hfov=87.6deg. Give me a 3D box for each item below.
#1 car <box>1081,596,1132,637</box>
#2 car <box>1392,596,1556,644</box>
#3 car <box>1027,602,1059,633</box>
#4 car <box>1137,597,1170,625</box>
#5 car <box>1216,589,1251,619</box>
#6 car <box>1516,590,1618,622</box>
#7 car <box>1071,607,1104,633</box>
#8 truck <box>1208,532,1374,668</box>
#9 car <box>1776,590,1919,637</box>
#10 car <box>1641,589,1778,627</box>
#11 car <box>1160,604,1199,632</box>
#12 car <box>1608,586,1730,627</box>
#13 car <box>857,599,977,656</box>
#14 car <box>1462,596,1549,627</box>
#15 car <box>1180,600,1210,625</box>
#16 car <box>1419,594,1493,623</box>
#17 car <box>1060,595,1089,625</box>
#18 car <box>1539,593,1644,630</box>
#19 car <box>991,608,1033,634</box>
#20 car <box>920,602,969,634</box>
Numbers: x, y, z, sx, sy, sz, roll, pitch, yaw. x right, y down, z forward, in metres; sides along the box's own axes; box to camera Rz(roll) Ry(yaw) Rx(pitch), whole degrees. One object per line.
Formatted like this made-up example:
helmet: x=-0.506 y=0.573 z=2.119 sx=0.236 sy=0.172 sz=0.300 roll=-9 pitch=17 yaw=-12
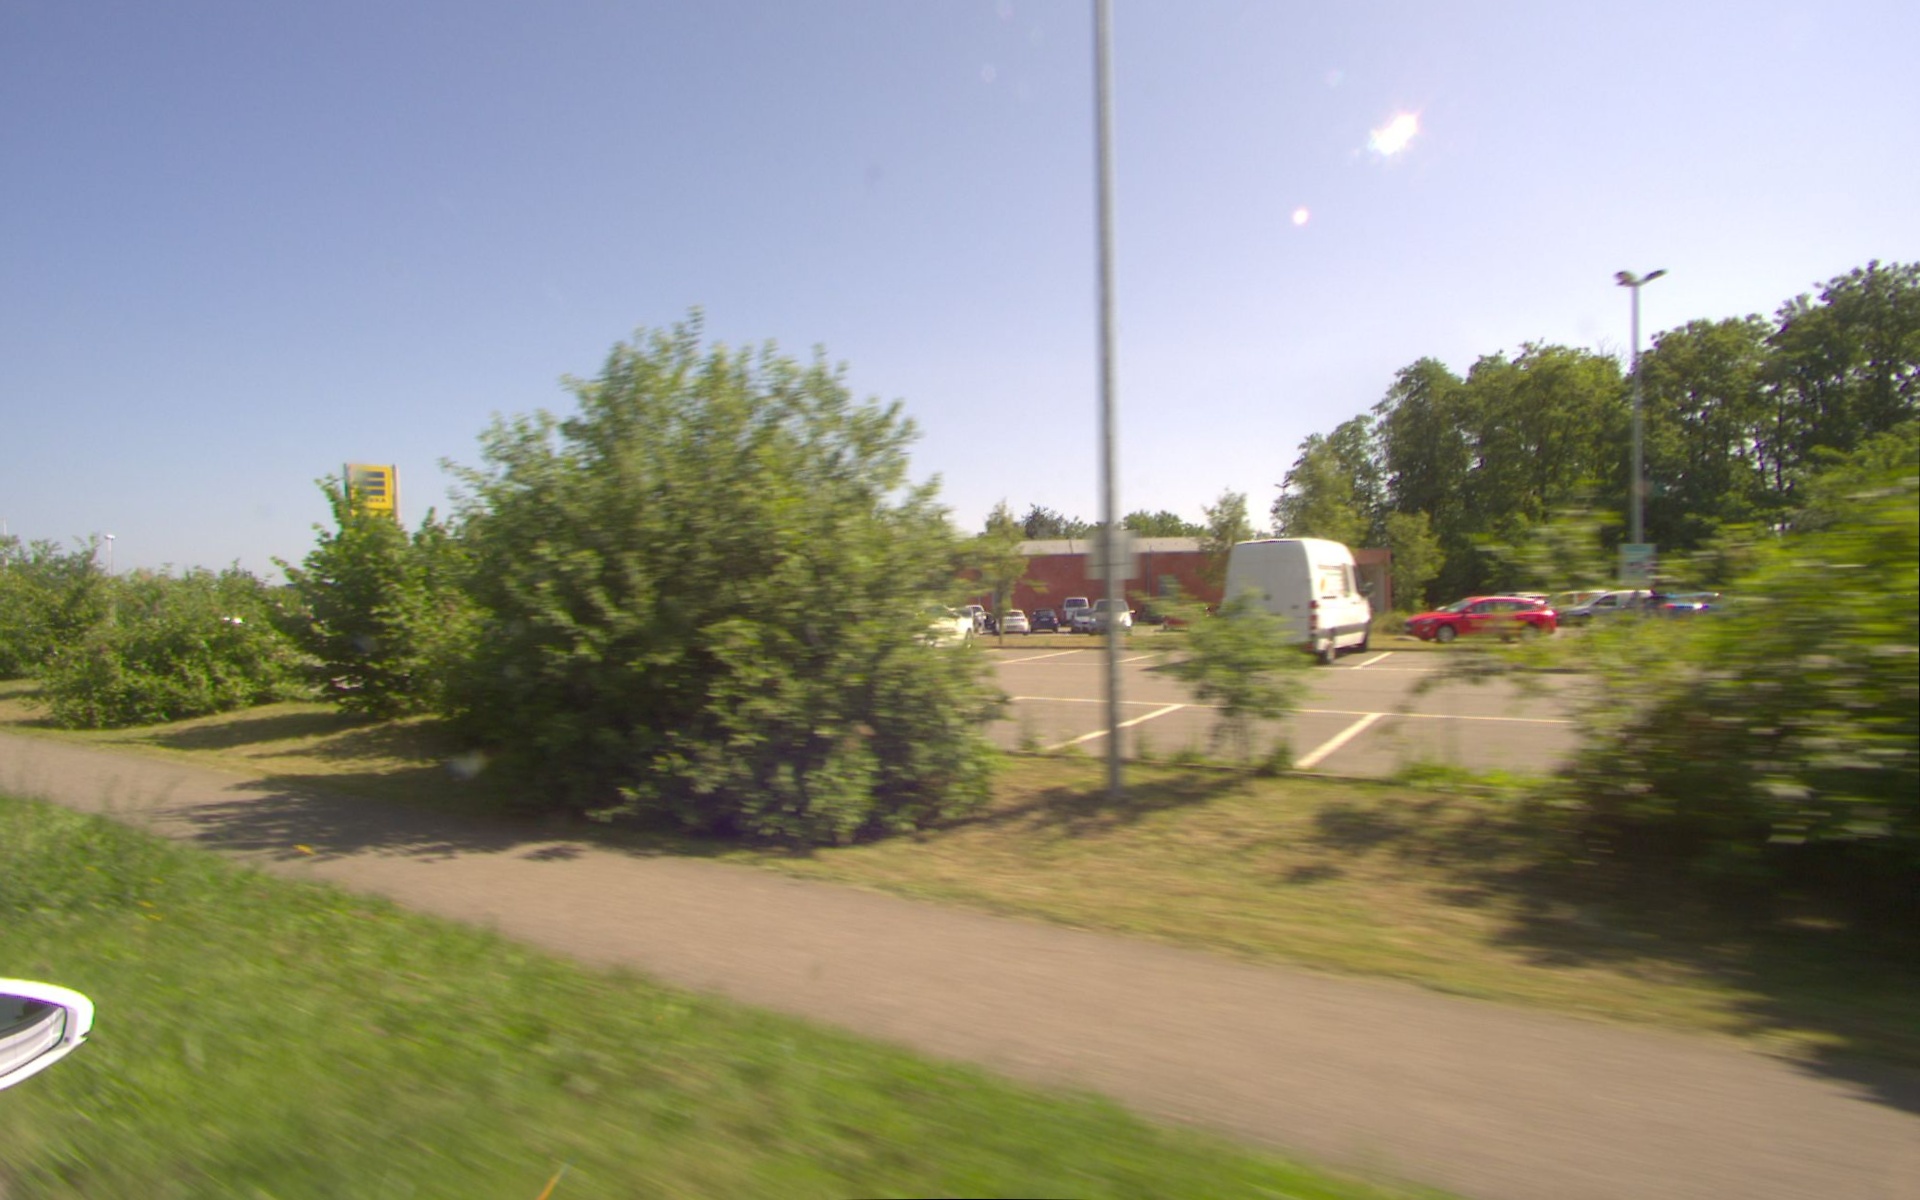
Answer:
car: x=6.130 y=0.642 z=41.485 sx=1.933 sy=1.606 sz=3.997 roll=0 pitch=0 yaw=10
car: x=16.982 y=0.651 z=33.252 sx=4.407 sy=1.485 sz=2.000 roll=-1 pitch=1 yaw=3
car: x=5.124 y=1.044 z=61.444 sx=1.770 sy=1.781 sz=3.999 roll=-1 pitch=0 yaw=6
car: x=13.631 y=0.745 z=70.724 sx=1.961 sy=1.907 sz=3.999 roll=-1 pitch=0 yaw=7
car: x=19.234 y=0.282 z=70.553 sx=1.962 sy=2.040 sz=3.998 roll=0 pitch=0 yaw=9
car: x=31.521 y=0.308 z=52.083 sx=4.178 sy=1.617 sz=1.795 roll=-1 pitch=0 yaw=5
car: x=7.700 y=1.195 z=60.441 sx=1.876 sy=1.461 sz=3.998 roll=0 pitch=0 yaw=8
truck: x=7.549 y=-0.012 z=22.385 sx=2.172 sy=2.640 sz=5.585 roll=0 pitch=1 yaw=33
car: x=30.639 y=0.430 z=34.086 sx=3.923 sy=1.506 sz=2.070 roll=-1 pitch=1 yaw=7
car: x=31.023 y=0.340 z=41.530 sx=4.288 sy=1.506 sz=1.662 roll=-1 pitch=1 yaw=7
car: x=13.232 y=1.065 z=60.487 sx=1.765 sy=1.539 sz=3.999 roll=-1 pitch=0 yaw=4
car: x=31.485 y=0.292 z=44.592 sx=3.923 sy=1.734 sz=2.070 roll=-1 pitch=1 yaw=7
car: x=-1.127 y=0.718 z=28.198 sx=1.872 sy=1.472 sz=3.963 roll=0 pitch=0 yaw=23
car: x=31.326 y=0.651 z=57.607 sx=3.923 sy=1.734 sz=1.942 roll=-1 pitch=1 yaw=7
car: x=16.533 y=0.878 z=70.577 sx=1.748 sy=1.662 sz=3.771 roll=-1 pitch=0 yaw=8
car: x=32.410 y=0.562 z=65.552 sx=3.923 sy=1.824 sz=1.942 roll=-1 pitch=1 yaw=7
car: x=8.096 y=0.674 z=70.676 sx=1.961 sy=2.040 sz=3.999 roll=-1 pitch=0 yaw=7
car: x=31.366 y=0.551 z=49.827 sx=3.923 sy=1.734 sz=2.070 roll=-1 pitch=1 yaw=7
car: x=2.963 y=1.150 z=56.084 sx=1.855 sy=1.416 sz=3.998 roll=-1 pitch=-1 yaw=10
car: x=-0.811 y=0.979 z=56.231 sx=1.962 sy=1.684 sz=3.997 roll=0 pitch=0 yaw=12
